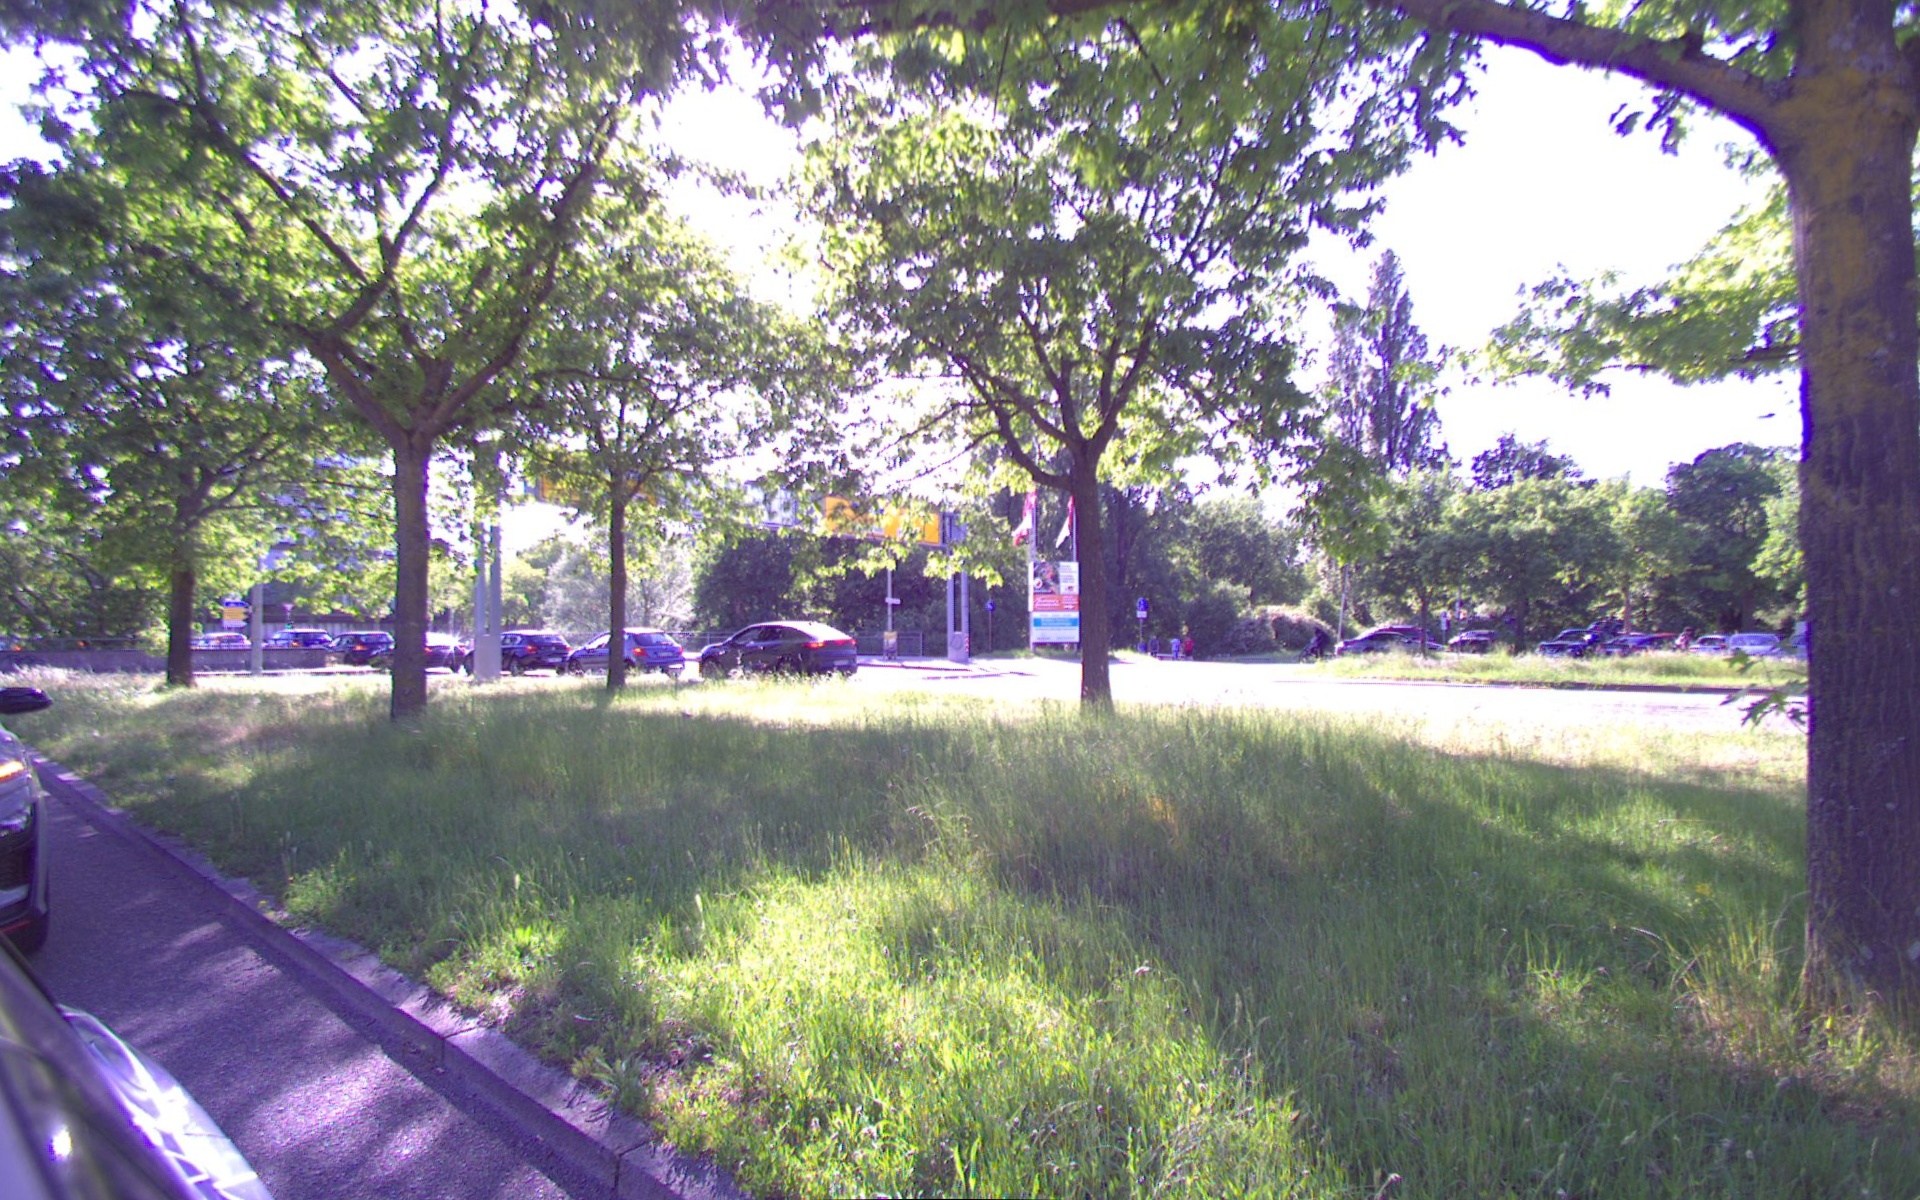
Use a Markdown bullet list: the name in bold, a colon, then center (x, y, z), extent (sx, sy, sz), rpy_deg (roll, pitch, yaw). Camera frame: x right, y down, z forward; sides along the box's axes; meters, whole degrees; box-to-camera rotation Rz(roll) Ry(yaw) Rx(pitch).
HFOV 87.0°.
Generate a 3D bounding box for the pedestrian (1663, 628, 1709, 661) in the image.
- **pedestrian**: center (28.535, 1.744, 39.789), extent (1.097, 1.285, 1.144), rpy_deg (-1, -2, 14)

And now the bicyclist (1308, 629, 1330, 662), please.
- **bicyclist**: center (16.465, 2.096, 46.437), extent (0.839, 1.500, 0.678), rpy_deg (-1, -2, 13)

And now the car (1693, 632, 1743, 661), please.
- **car**: center (32.977, 1.998, 44.111), extent (1.616, 1.187, 3.040), rpy_deg (-2, -2, 35)

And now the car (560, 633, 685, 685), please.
- **car**: center (-9.624, 1.654, 28.815), extent (3.601, 1.374, 1.543), rpy_deg (-2, -2, 35)

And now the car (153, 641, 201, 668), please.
- **car**: center (-39.989, 2.786, 51.663), extent (2.761, 1.270, 1.186), rpy_deg (-4, -3, 35)

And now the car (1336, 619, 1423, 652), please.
- **car**: center (22.427, 1.912, 54.285), extent (3.959, 1.678, 1.992), rpy_deg (-1, -2, 13)

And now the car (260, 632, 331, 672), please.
- **car**: center (-28.151, 2.214, 42.856), extent (3.195, 1.571, 1.433), rpy_deg (-4, -3, 34)

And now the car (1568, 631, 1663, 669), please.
- **car**: center (23.540, 1.797, 36.432), extent (2.783, 1.315, 1.327), rpy_deg (-2, -2, 32)

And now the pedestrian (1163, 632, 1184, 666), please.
- **pedestrian**: center (12.251, 2.796, 58.107), extent (0.845, 1.881, 0.904), rpy_deg (-1, 0, -8)

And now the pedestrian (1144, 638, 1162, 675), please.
- **pedestrian**: center (11.236, 3.280, 58.857), extent (0.847, 2.060, 0.863), rpy_deg (-1, 0, 1)

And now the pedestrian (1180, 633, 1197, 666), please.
- **pedestrian**: center (13.024, 2.823, 57.713), extent (0.742, 1.802, 0.905), rpy_deg (-1, 0, 2)

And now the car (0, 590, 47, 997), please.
- **car**: center (-5.628, 0.770, 4.602), extent (3.986, 1.544, 1.730), rpy_deg (-2, -2, 41)

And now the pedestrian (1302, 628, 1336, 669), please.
- **pedestrian**: center (14.933, 2.002, 42.115), extent (0.971, 1.642, 0.917), rpy_deg (0, -2, -20)

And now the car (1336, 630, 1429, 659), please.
- **car**: center (21.136, 2.216, 50.755), extent (3.957, 1.385, 1.826), rpy_deg (-1, -2, 11)

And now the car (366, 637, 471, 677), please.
- **car**: center (-19.218, 1.994, 35.858), extent (4.058, 1.323, 1.604), rpy_deg (-2, -2, 35)

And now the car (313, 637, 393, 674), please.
- **car**: center (-23.411, 2.131, 39.029), extent (3.195, 1.349, 1.464), rpy_deg (-3, -3, 35)

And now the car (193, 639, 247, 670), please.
- **car**: center (-35.069, 2.594, 47.934), extent (2.875, 1.350, 1.214), rpy_deg (-5, -4, 34)

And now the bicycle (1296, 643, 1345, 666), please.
- **bicycle**: center (16.528, 2.500, 46.382), extent (2.016, 1.060, 0.684), rpy_deg (-1, -2, 13)

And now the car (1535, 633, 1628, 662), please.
- **car**: center (23.360, 1.786, 38.115), extent (2.774, 1.072, 1.324), rpy_deg (-1, -2, 23)

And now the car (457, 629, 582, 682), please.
- **car**: center (-14.161, 1.734, 32.454), extent (4.215, 1.562, 1.853), rpy_deg (-2, -2, 37)

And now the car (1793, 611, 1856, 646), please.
- **car**: center (43.895, 1.431, 51.393), extent (3.694, 1.681, 1.895), rpy_deg (1, -2, -41)

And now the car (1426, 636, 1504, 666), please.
- **car**: center (31.645, 3.211, 63.517), extent (3.961, 1.807, 1.991), rpy_deg (-1, -2, 14)

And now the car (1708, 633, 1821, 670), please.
- **car**: center (26.892, 1.709, 33.908), extent (2.783, 1.165, 1.327), rpy_deg (-1, -2, 32)

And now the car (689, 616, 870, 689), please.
- **car**: center (-4.503, 1.251, 24.962), extent (4.450, 1.660, 1.810), rpy_deg (-2, -2, 35)

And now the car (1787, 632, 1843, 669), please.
- **car**: center (35.619, 2.079, 42.216), extent (1.617, 1.430, 3.038), rpy_deg (-2, -2, 38)
